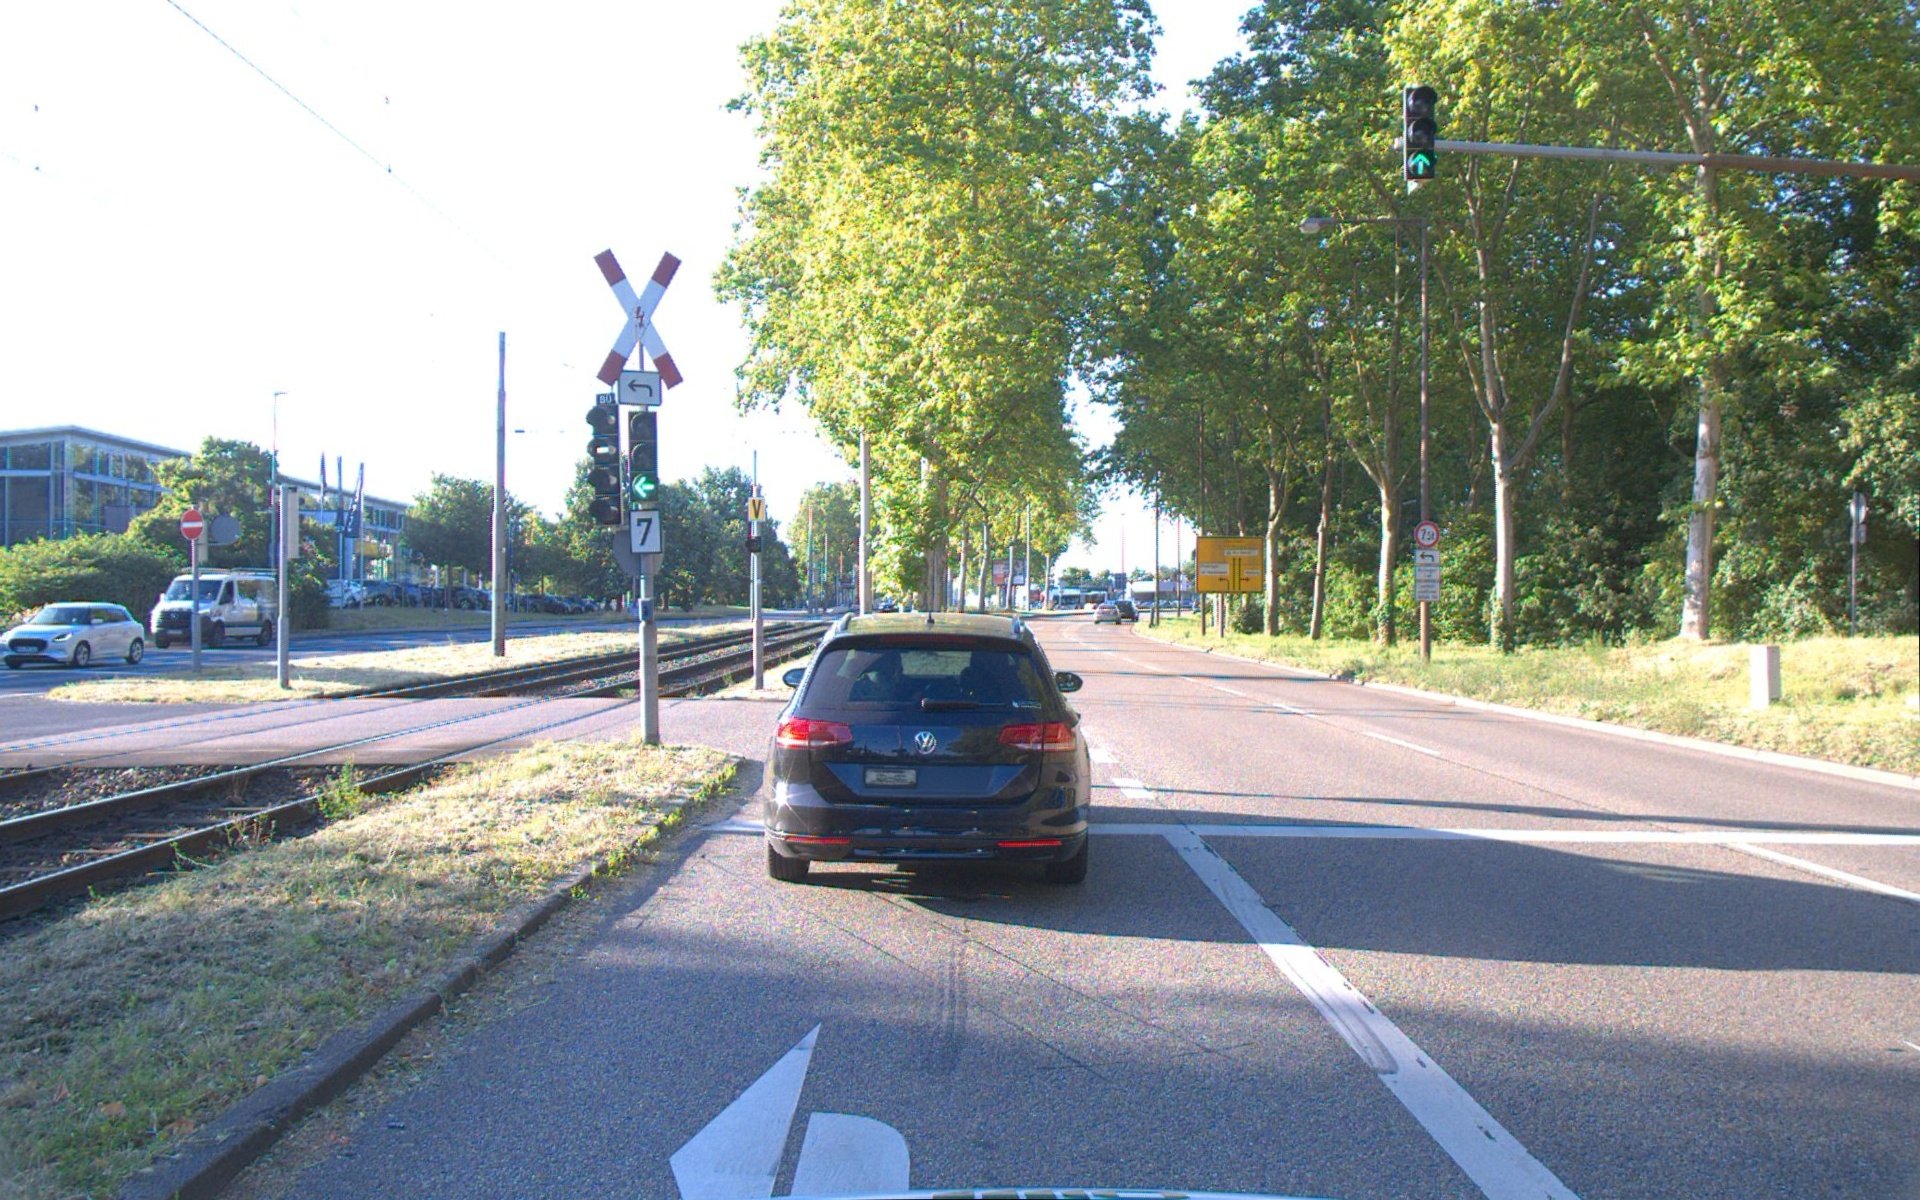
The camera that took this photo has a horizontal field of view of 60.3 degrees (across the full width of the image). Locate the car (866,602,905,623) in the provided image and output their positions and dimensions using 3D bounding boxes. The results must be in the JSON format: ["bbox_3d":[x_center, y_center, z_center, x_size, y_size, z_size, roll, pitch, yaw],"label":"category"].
[{"bbox_3d":[-6.266,1.083,139.330,1.772,1.713,3.999,0,0,22],"label":"car"}]

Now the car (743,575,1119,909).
[{"bbox_3d":[-0.214,0.707,10.089,1.788,1.583,4.256,1,-1,-2],"label":"car"}]

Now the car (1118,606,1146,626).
[{"bbox_3d":[12.820,1.181,123.050,1.951,1.465,4.003,1,0,8],"label":"car"}]

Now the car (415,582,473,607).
[{"bbox_3d":[-35.685,-0.367,114.362,3.731,1.594,1.749,1,-1,-20],"label":"car"}]

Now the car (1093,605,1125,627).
[{"bbox_3d":[10.108,1.095,112.706,1.952,1.467,4.001,1,0,2],"label":"car"}]

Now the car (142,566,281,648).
[{"bbox_3d":[-25.107,0.241,55.767,1.962,2.611,5.876,1,0,0],"label":"car"}]

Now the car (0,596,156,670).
[{"bbox_3d":[-21.148,0.760,39.642,1.832,1.646,3.999,1,0,-1],"label":"car"}]

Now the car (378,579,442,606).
[{"bbox_3d":[-34.123,-0.461,102.688,3.731,1.594,1.749,1,-1,-20],"label":"car"}]

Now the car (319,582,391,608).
[{"bbox_3d":[-33.944,-0.267,92.848,3.731,1.413,1.749,1,-1,-20],"label":"car"}]

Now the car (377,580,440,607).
[{"bbox_3d":[-35.124,-0.417,105.421,3.731,1.594,1.749,1,-1,-20],"label":"car"}]

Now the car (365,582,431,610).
[{"bbox_3d":[-33.830,-0.241,99.562,3.731,1.594,1.749,1,-1,-20],"label":"car"}]

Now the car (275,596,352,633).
[{"bbox_3d":[-34.839,0.799,89.174,3.731,1.892,1.749,1,-1,-20],"label":"car"}]

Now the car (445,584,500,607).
[{"bbox_3d":[-35.507,-0.300,120.537,3.731,1.594,1.749,1,-1,-20],"label":"car"}]

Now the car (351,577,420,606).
[{"bbox_3d":[-33.527,-0.475,96.578,3.731,1.594,1.749,1,-1,-20],"label":"car"}]
